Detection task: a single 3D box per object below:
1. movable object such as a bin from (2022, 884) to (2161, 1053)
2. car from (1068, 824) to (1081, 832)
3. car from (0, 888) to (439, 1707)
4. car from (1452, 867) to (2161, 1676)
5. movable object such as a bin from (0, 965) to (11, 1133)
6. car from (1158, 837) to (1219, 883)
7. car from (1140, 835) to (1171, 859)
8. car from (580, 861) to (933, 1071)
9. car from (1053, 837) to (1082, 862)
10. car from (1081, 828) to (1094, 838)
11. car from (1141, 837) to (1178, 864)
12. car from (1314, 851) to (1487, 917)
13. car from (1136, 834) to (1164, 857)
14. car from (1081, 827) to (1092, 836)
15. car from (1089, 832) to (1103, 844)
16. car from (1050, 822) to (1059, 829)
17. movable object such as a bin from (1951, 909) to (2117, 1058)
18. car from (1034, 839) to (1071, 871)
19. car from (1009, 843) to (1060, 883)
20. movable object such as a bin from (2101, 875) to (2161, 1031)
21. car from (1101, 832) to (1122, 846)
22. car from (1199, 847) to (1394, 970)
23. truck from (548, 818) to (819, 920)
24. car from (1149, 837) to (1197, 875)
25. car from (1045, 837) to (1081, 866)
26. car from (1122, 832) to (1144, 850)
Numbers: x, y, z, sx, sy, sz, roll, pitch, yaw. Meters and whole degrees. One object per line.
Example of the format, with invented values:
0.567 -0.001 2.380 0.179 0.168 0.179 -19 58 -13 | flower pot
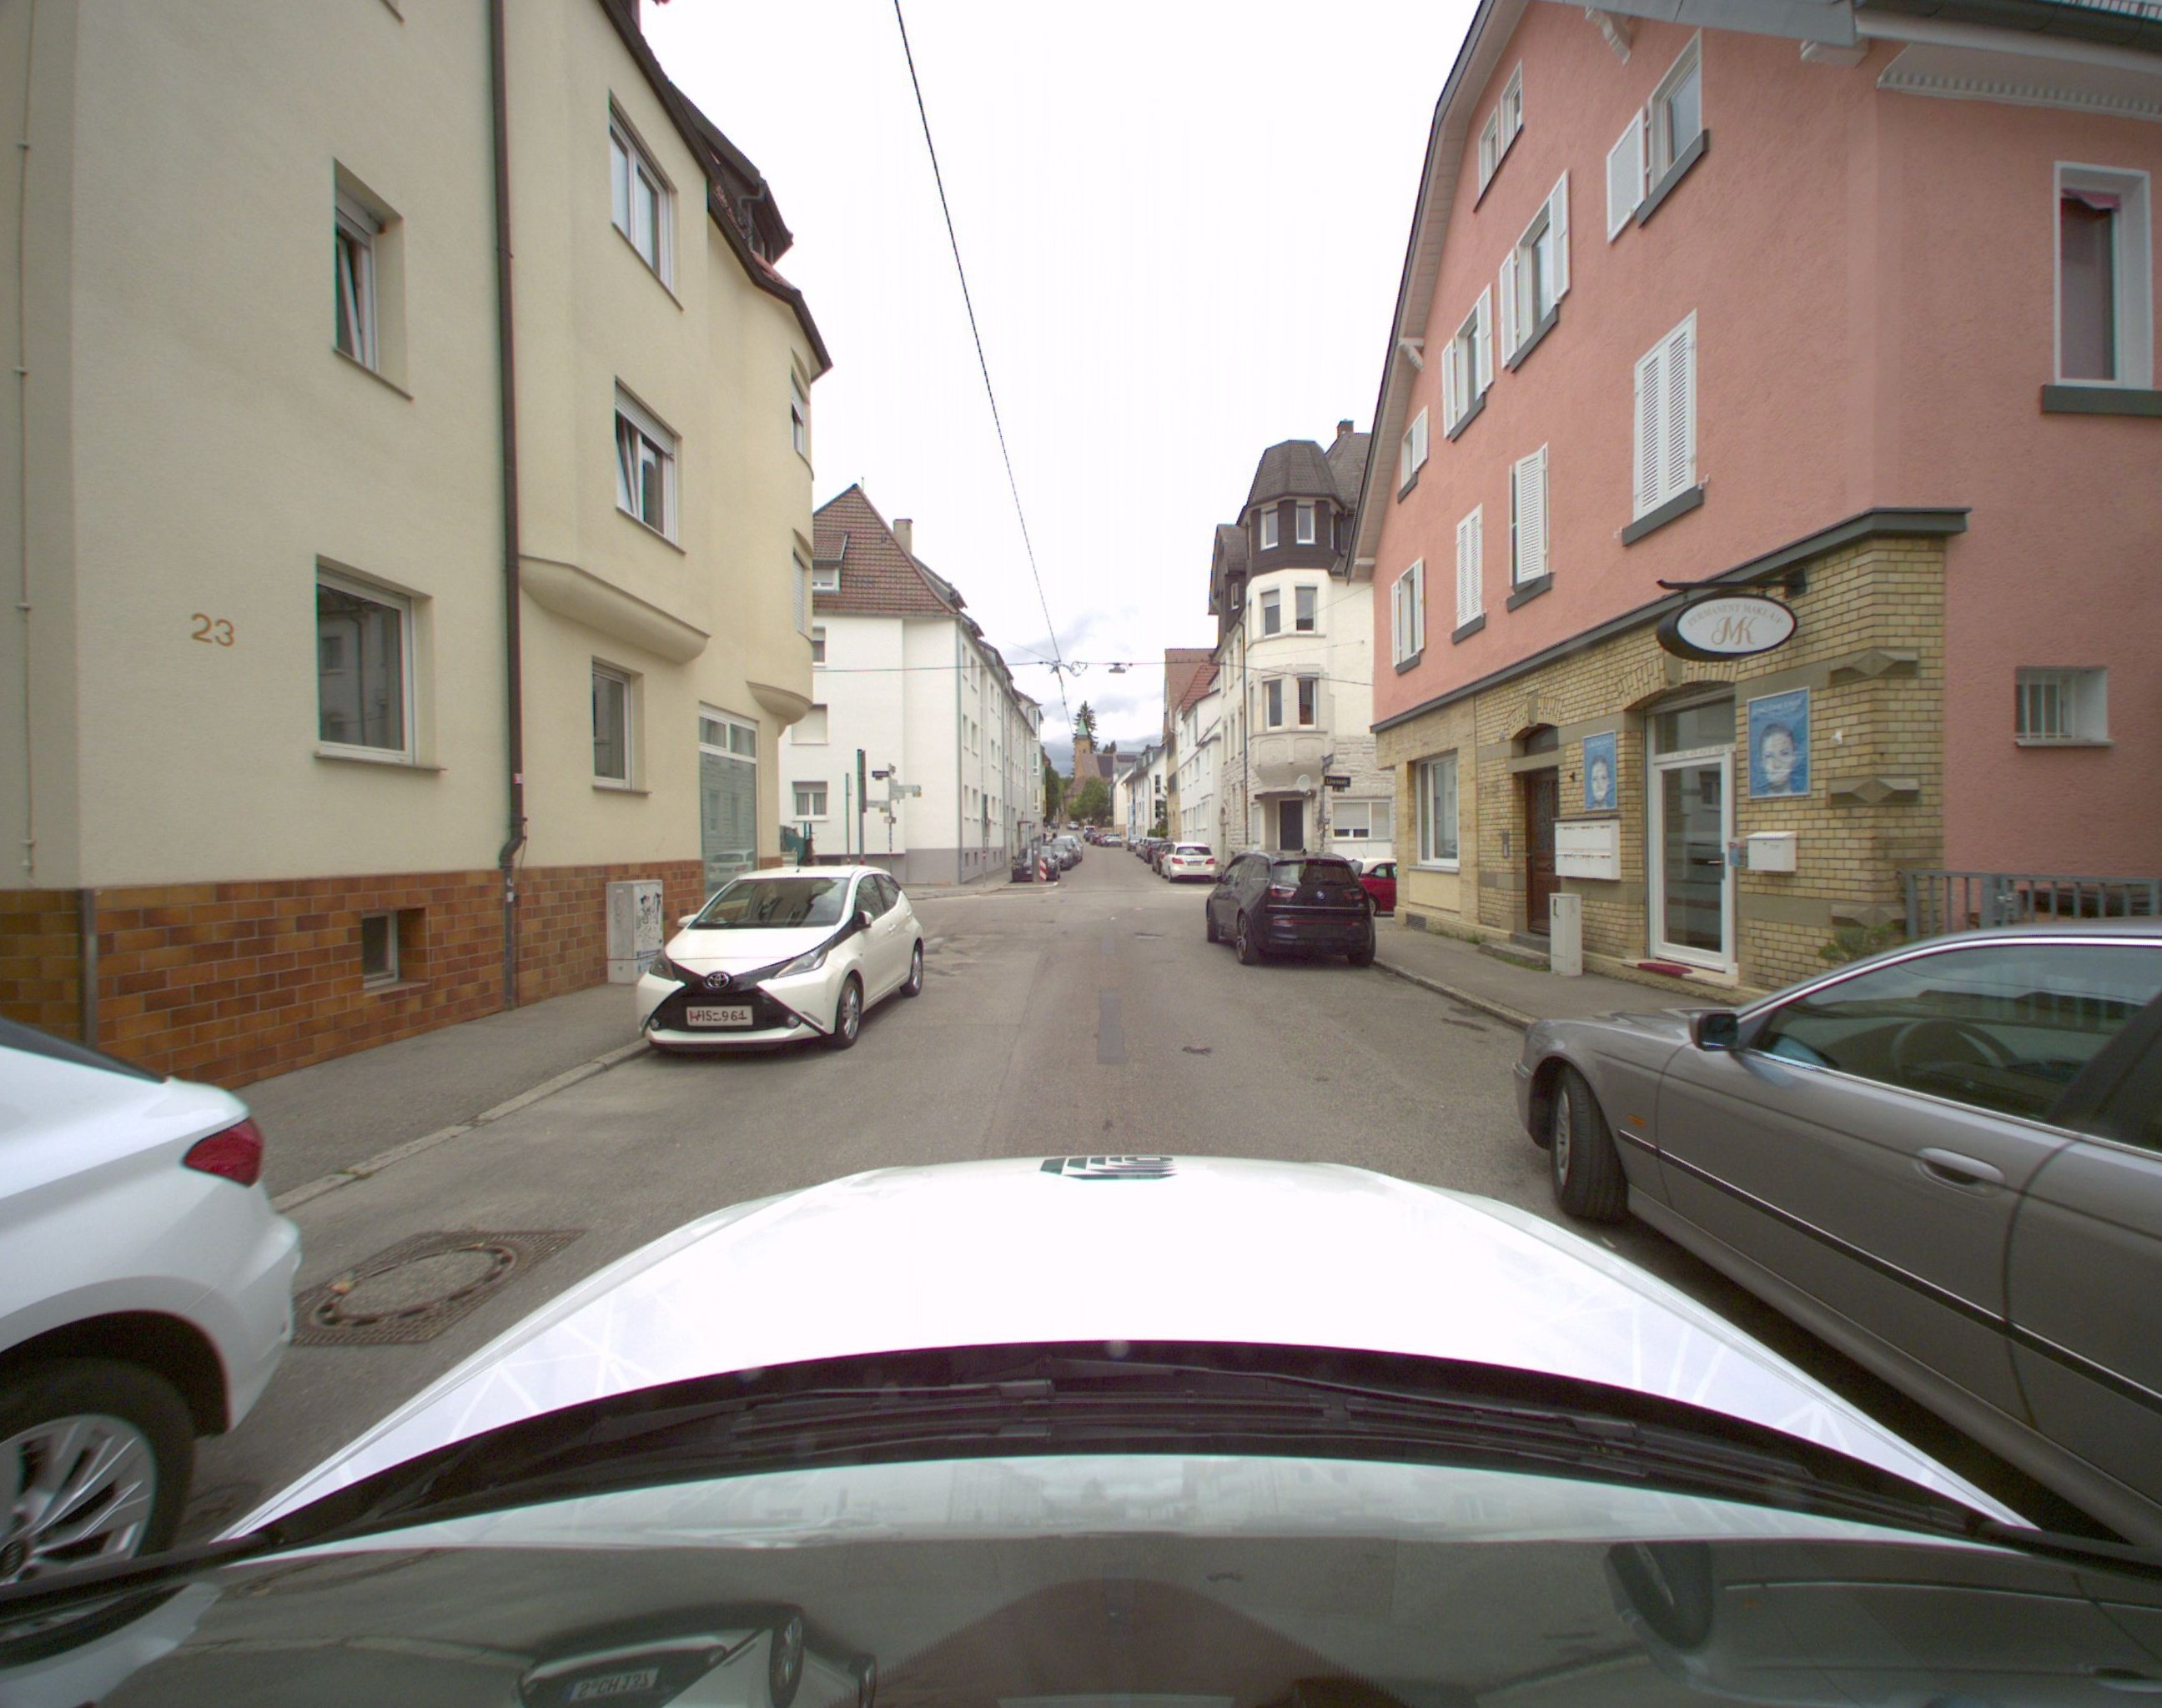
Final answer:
7.178 0.767 5.688 0.502 1.061 0.604 -2 1 -3 | movable object such as a bin
-1.350 -5.444 169.027 2.179 1.693 3.619 -1 2 -6 | car
-2.772 0.843 0.111 1.745 1.432 4.371 -3 -1 2 | car
2.834 0.782 2.010 1.780 1.417 4.578 2 -1 1 | car
-6.189 1.077 4.236 0.502 0.924 0.546 1 0 -3 | movable object such as a bin
4.212 0.200 32.466 1.815 1.599 4.026 1 2 -1 | car
4.929 -0.483 54.071 1.663 1.479 3.625 1 2 -1 | car
-2.644 0.812 7.669 1.660 1.434 3.817 -2 -1 2 | car
-0.836 -0.322 52.399 1.725 1.448 3.719 -2 2 0 | car
0.934 -3.059 118.390 1.663 1.479 3.625 0 2 -1 | car
4.581 -0.246 47.956 1.663 1.384 4.026 1 2 -1 | car
7.806 0.710 20.067 3.610 1.479 1.669 1 1 -7 | car
4.930 -0.638 58.697 1.663 1.479 3.625 1 2 -1 | car
0.920 -3.581 130.128 1.663 1.479 3.625 0 2 -1 | car
1.832 -1.998 101.472 1.663 1.479 3.625 0 2 -1 | car
-5.702 -6.181 174.677 1.666 1.479 3.619 0 2 -6 | car
6.615 0.875 5.675 0.502 0.924 0.546 -2 1 -3 | movable object such as a bin
-1.418 -0.003 42.095 1.725 1.489 3.719 -2 2 0 | car
-1.810 0.304 33.019 1.814 1.391 4.298 -2 2 0 | car
7.817 0.701 5.733 0.502 1.061 0.604 -2 1 -3 | movable object such as a bin
3.357 -1.701 90.379 1.783 1.479 3.616 -1 2 -8 | car
3.024 0.679 12.338 1.812 1.543 4.025 1 0 -1 | car
-10.720 0.387 22.481 6.259 2.552 2.313 -1 -1 -6 | truck
4.166 0.035 37.562 1.663 1.532 4.026 1 2 -1 | car
-1.003 -0.175 46.973 1.722 1.469 3.724 -1 2 4 | car
4.582 -1.140 72.024 1.663 1.479 3.625 1 2 -1 | car
